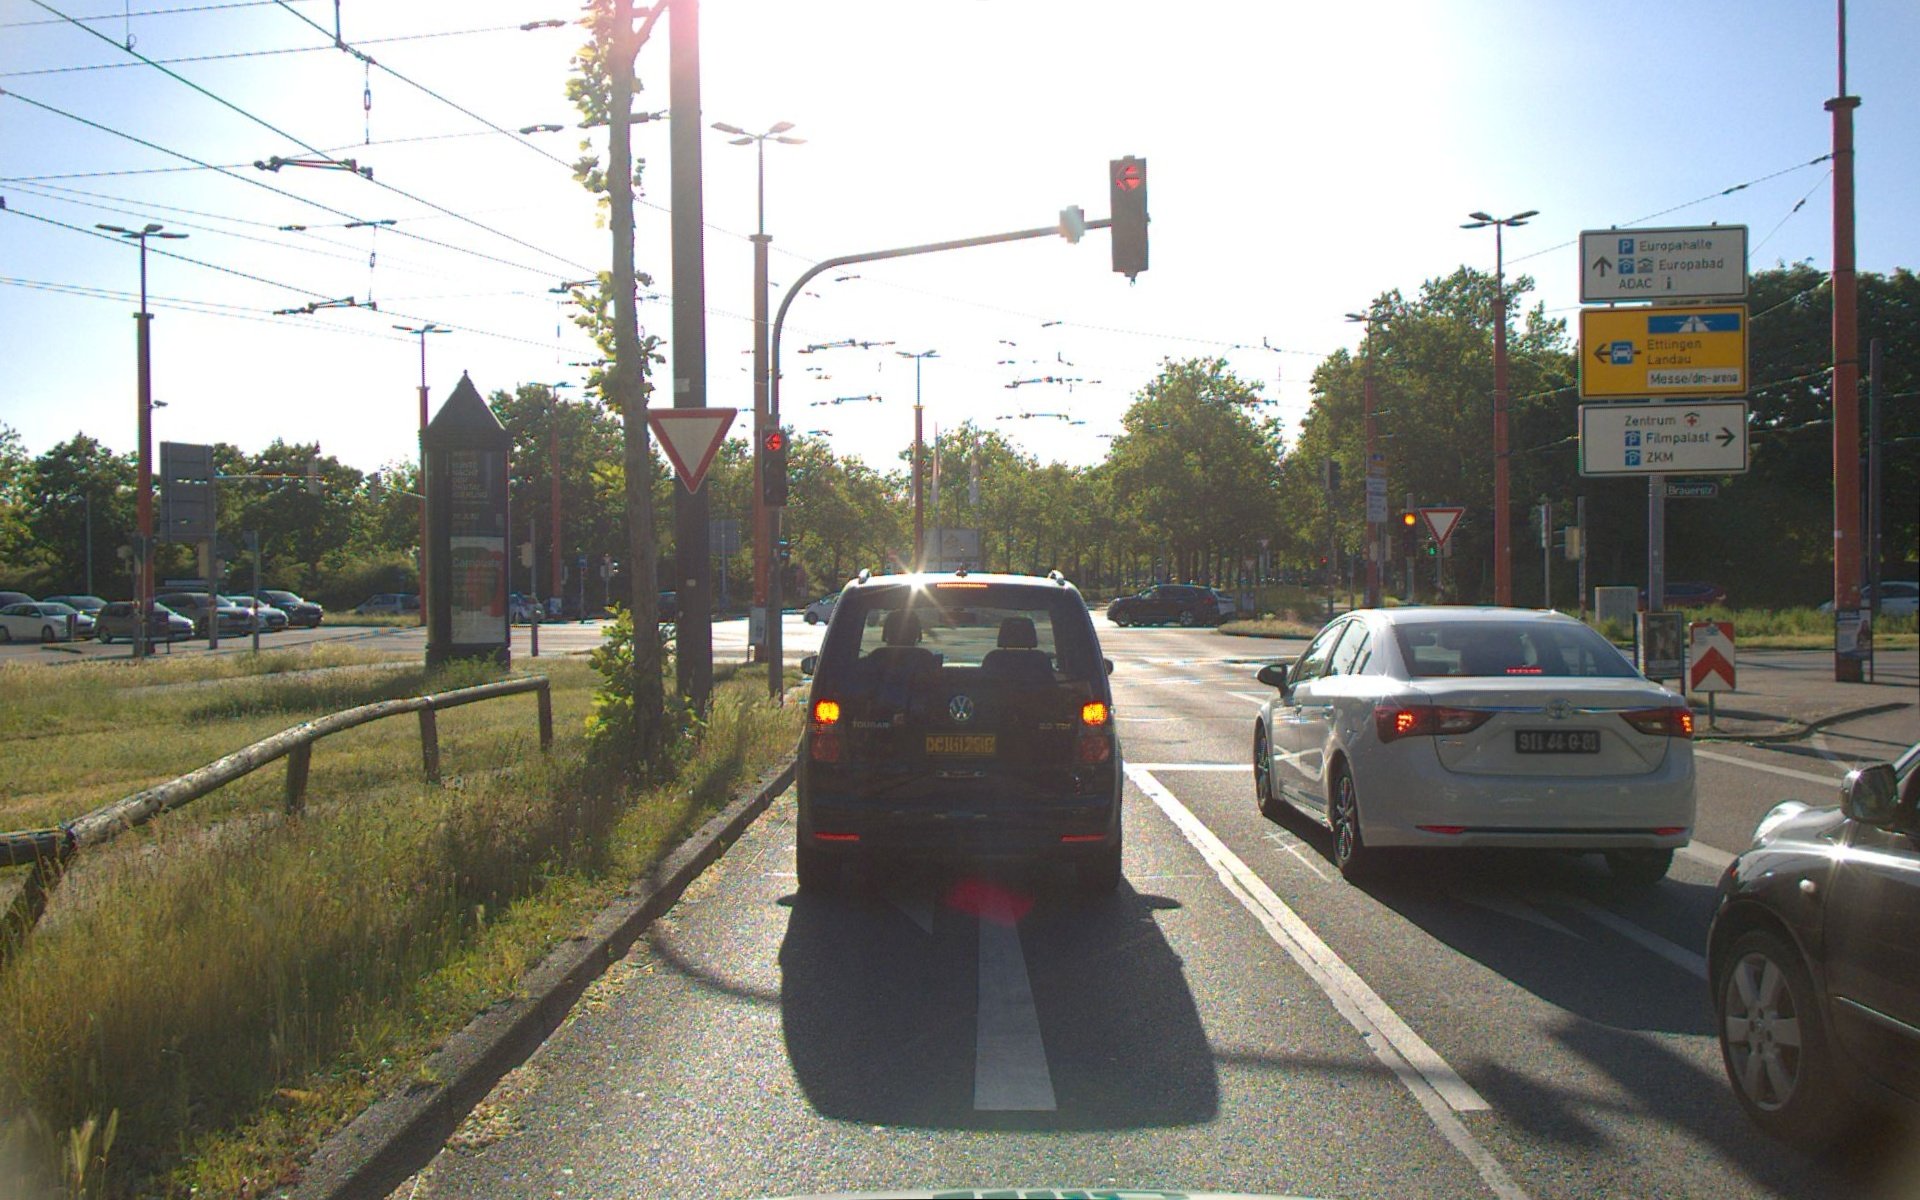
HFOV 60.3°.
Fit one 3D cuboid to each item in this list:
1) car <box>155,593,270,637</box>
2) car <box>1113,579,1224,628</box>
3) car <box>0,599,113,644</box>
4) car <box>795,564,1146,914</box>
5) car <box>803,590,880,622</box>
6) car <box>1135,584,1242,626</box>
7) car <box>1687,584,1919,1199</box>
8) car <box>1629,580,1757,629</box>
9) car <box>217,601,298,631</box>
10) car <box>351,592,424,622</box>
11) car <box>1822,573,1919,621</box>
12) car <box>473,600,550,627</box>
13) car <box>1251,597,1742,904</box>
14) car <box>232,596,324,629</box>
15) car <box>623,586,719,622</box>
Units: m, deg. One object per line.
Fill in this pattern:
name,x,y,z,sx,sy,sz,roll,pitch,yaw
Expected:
car,-28.967,0.572,64.119,3.907,1.673,1.999,0,0,24
car,8.368,0.143,66.331,4.108,1.916,1.766,0,0,23
car,-34.591,0.793,63.174,4.091,1.640,1.867,0,0,25
car,0.016,0.649,9.810,1.666,1.650,3.896,0,0,-1
car,-5.515,0.264,76.902,3.368,1.392,1.289,1,0,26
car,9.626,0.207,69.613,4.149,1.711,1.700,0,0,29
car,3.184,0.739,3.572,1.620,1.526,3.614,1,0,0
car,26.830,0.159,60.522,4.207,1.735,1.845,0,0,27
car,-28.881,0.649,67.978,3.102,1.219,1.526,0,0,31
car,-28.743,0.368,83.044,3.325,1.483,1.464,0,0,23
car,30.711,-0.091,54.681,3.922,1.554,1.706,0,0,28
car,-23.256,0.709,85.747,3.753,1.286,1.601,1,0,26
car,2.977,0.730,10.136,1.685,1.463,4.198,1,0,1
car,-29.459,0.522,71.452,3.913,1.353,1.694,0,0,31
car,-13.388,0.162,76.617,3.942,1.624,2.000,0,0,23
